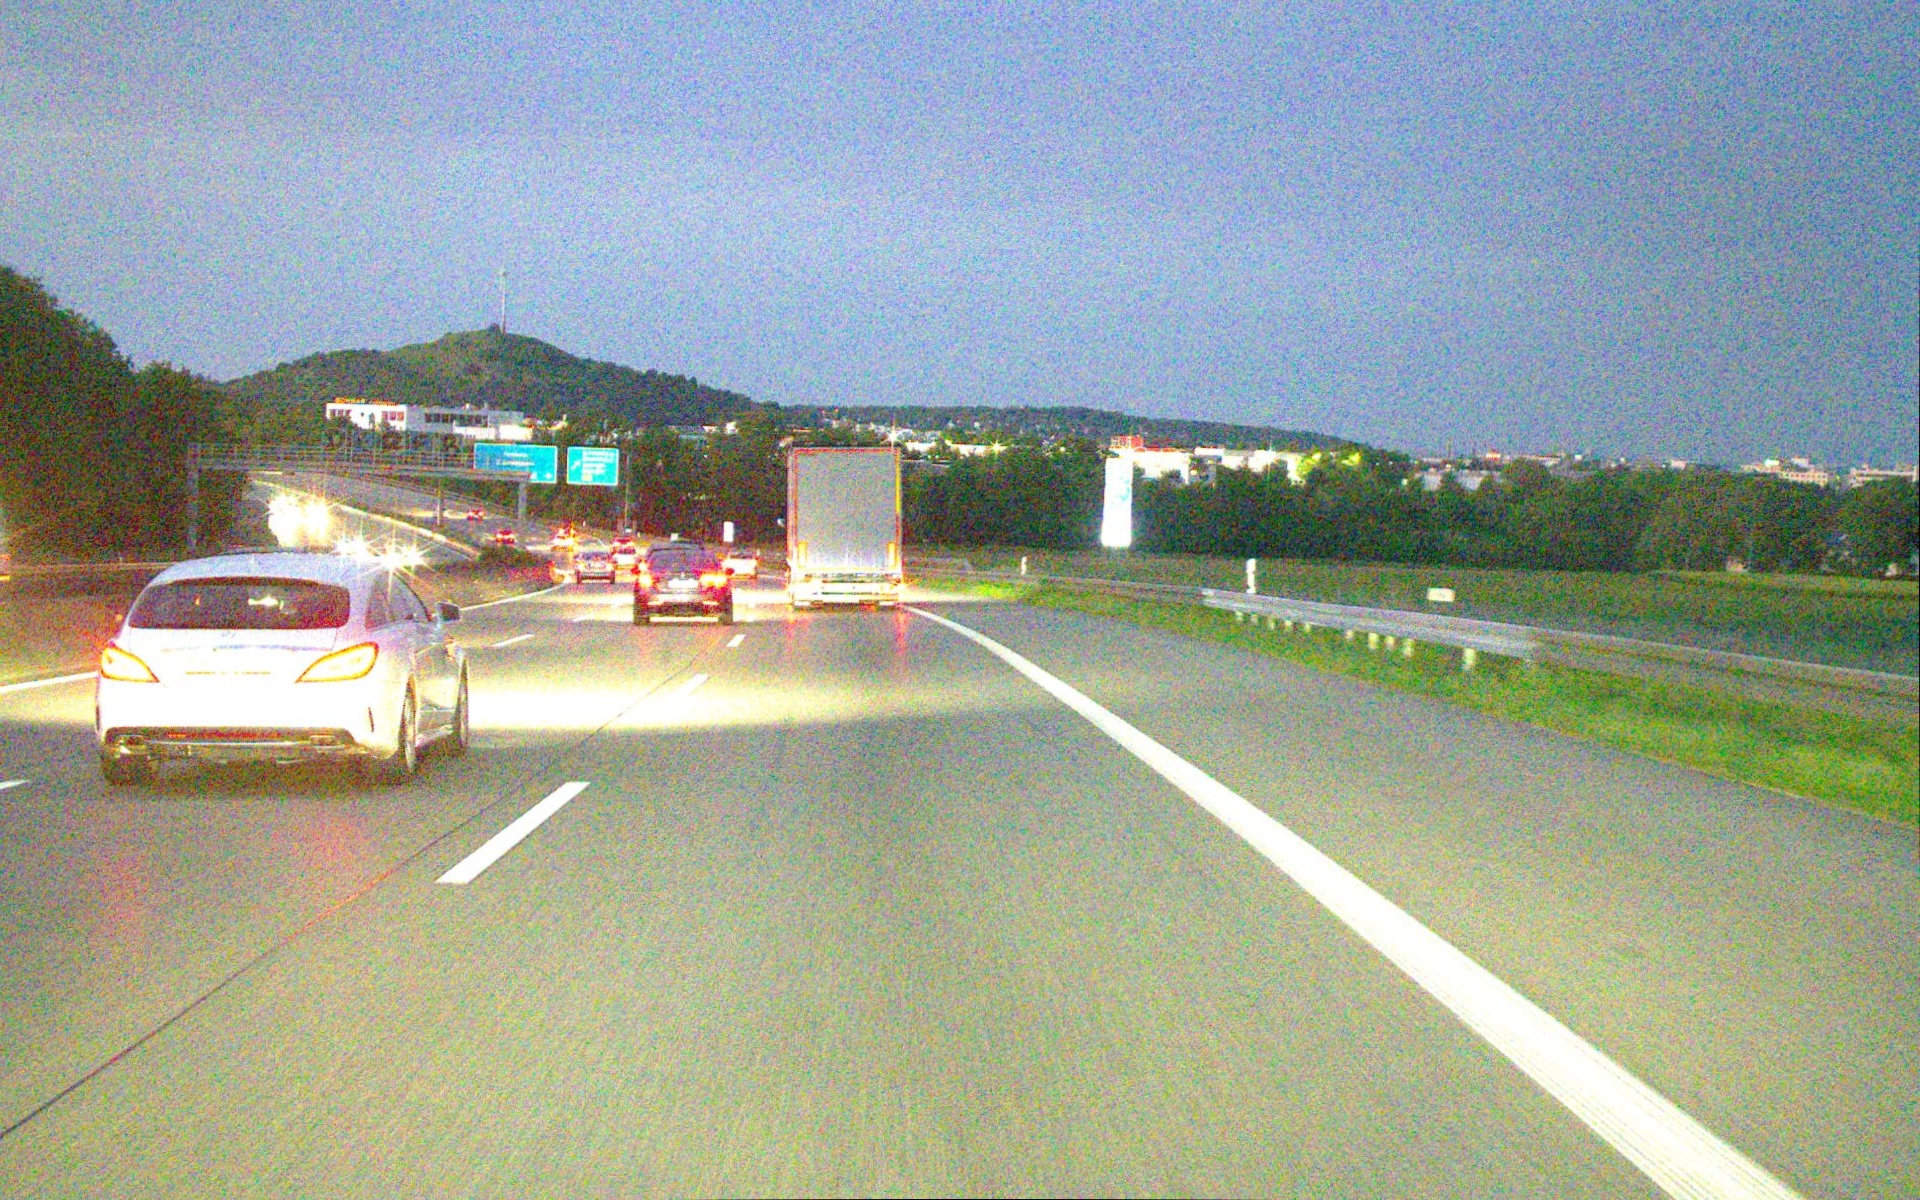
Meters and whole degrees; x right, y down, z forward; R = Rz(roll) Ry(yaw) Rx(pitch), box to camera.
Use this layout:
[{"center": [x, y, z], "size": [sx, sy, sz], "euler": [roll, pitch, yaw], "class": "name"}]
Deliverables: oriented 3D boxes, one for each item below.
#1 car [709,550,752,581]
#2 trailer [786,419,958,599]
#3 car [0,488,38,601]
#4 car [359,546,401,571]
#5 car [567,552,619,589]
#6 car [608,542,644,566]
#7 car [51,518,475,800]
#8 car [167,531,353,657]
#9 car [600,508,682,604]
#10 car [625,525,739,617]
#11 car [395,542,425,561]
[{"center": [-11.769, -1.767, 176.285], "size": [1.993, 1.529, 4.001], "euler": [1, 1, -6], "class": "car"}, {"center": [-2.392, -2.122, 86.304], "size": [3.549, 4.102, 15.065], "euler": [0, 0, -4], "class": "trailer"}, {"center": [-21.813, -1.201, 73.675], "size": [2.325, 2.423, 7.095], "euler": [1, 1, -1], "class": "car"}, {"center": [-33.964, -2.437, 201.390], "size": [1.993, 1.448, 3.835], "euler": [1, 1, -4], "class": "car"}, {"center": [-16.266, -1.308, 152.212], "size": [1.993, 1.616, 4.001], "euler": [1, 1, -10], "class": "car"}, {"center": [-23.117, -3.202, 237.807], "size": [1.993, 1.616, 4.001], "euler": [1, 1, -13], "class": "car"}, {"center": [-4.385, 0.320, 22.362], "size": [1.906, 1.609, 4.804], "euler": [1, 1, -2], "class": "car"}, {"center": [-9.275, -0.098, 45.869], "size": [1.761, 1.569, 4.577], "euler": [1, 1, -3], "class": "car"}, {"center": [-8.167, -1.121, 87.876], "size": [1.993, 2.372, 4.001], "euler": [1, 1, -6], "class": "car"}, {"center": [-5.312, -0.558, 65.606], "size": [2.065, 1.680, 4.577], "euler": [1, 1, -5], "class": "car"}, {"center": [-39.534, -3.502, 247.236], "size": [1.834, 1.331, 4.910], "euler": [1, 1, -5], "class": "car"}]
